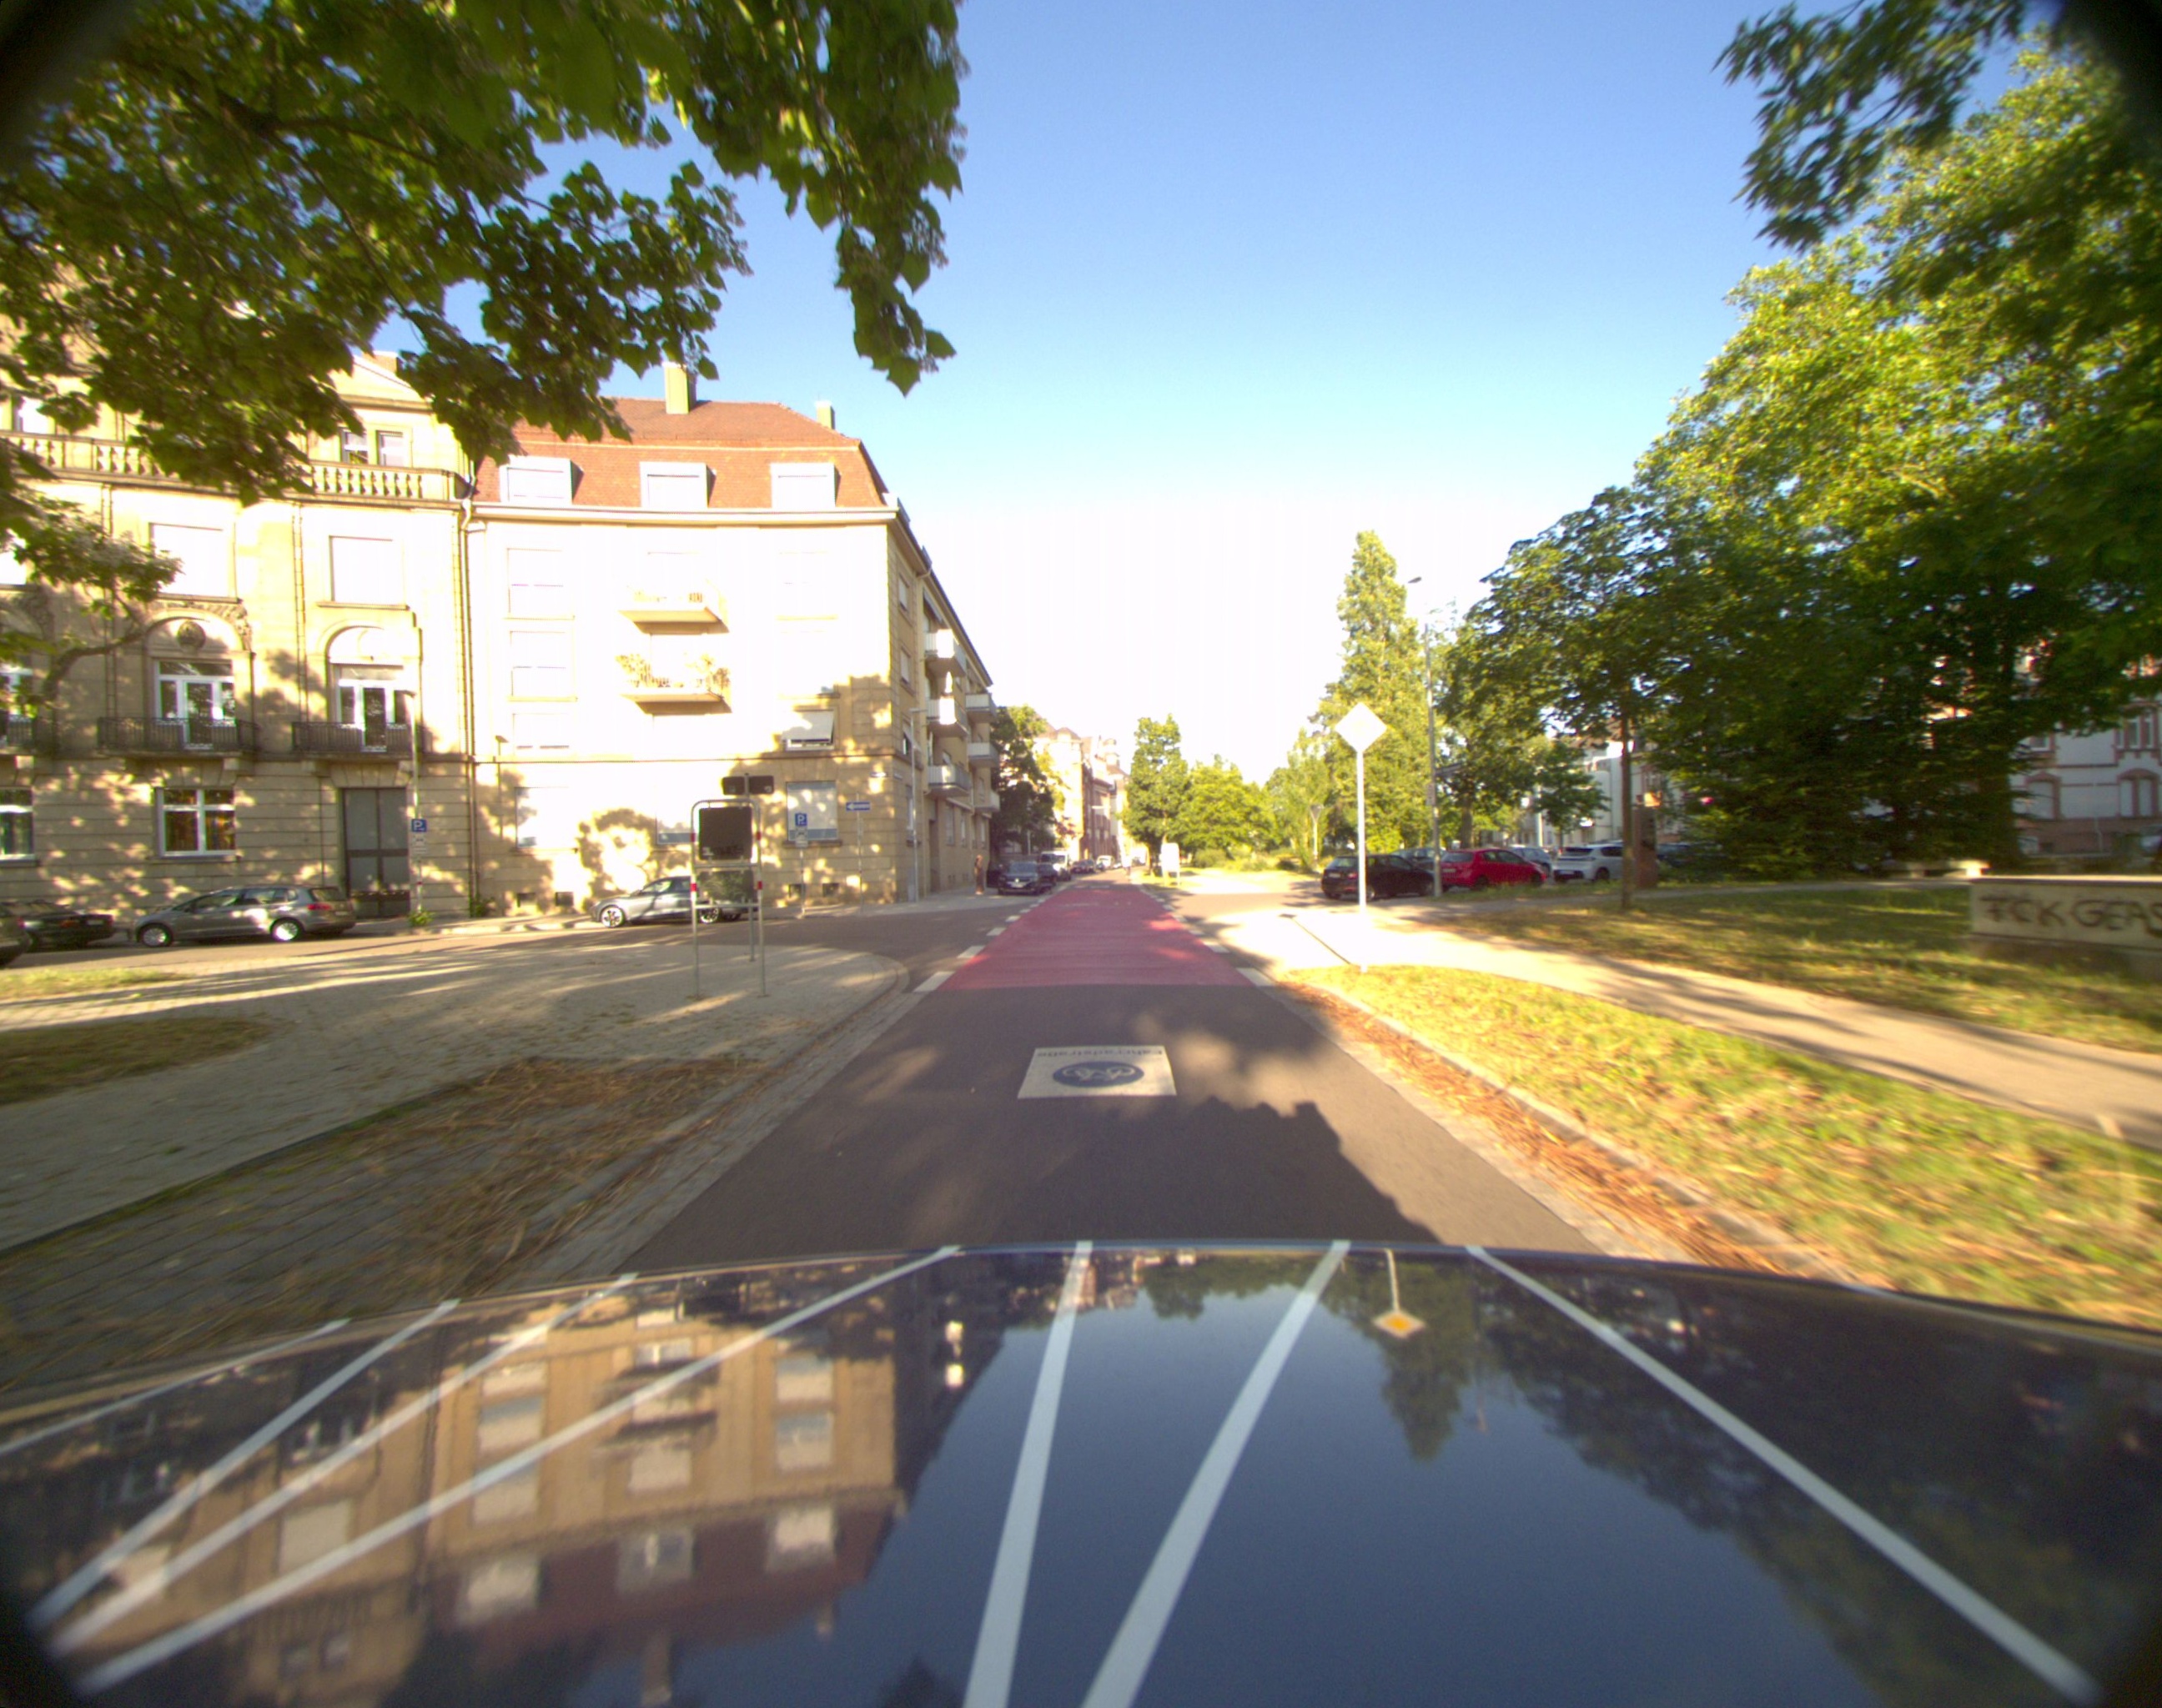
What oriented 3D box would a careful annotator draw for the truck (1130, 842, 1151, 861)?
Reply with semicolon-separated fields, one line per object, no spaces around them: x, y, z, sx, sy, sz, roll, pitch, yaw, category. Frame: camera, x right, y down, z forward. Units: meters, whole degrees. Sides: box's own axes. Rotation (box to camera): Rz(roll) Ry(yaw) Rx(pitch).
11.321;-0.464;144.184;3.018;3.423;7.629;-1;1;12;truck

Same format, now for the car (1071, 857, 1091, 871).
0.034;0.986;79.593;1.610;1.349;3.549;-1;1;7;car

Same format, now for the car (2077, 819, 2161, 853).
53.606;-0.937;38.410;3.997;1.565;1.890;-2;2;1;car

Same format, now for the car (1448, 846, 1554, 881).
18.751;0.408;33.921;4.281;1.392;1.836;-2;1;-21;car

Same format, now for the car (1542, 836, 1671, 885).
19.098;0.185;27.643;4.003;1.565;1.887;-2;2;-20;car

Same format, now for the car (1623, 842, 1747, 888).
23.267;0.372;29.280;4.003;1.565;1.887;-2;2;-19;car

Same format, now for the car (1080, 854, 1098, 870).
0.925;0.902;85.193;1.610;1.608;3.952;-1;1;7;car

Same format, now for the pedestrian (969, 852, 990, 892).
-4.683;0.830;35.083;0.733;1.819;0.555;-3;0;-35;pedestrian

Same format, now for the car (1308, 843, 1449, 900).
9.435;0.493;24.096;4.004;1.565;1.887;-2;2;-24;car

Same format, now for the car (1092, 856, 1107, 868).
2.370;0.973;95.482;1.509;1.437;3.731;-1;1;7;car

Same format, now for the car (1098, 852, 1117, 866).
3.800;0.694;107.898;2.118;1.942;4.763;-1;1;8;car

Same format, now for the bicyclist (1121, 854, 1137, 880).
3.277;0.883;51.877;0.939;1.693;0.906;-2;1;7;bicyclist

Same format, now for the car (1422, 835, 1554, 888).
13.770;0.204;25.722;4.004;1.565;1.887;-2;2;-24;car

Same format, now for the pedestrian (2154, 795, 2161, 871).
24.444;-0.484;16.775;0.664;1.686;0.671;-3;0;-18;pedestrian

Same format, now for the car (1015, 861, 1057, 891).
-2.274;1.093;39.378;1.707;1.412;4.349;1;1;3;car

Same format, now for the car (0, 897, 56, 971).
-23.463;1.665;14.468;4.370;1.409;1.842;-2;1;-19;car

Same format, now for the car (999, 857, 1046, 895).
-2.591;0.969;34.621;1.707;1.616;4.349;1;-1;1;car

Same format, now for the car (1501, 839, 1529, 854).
52.747;-0.943;92.459;1.887;1.565;4.603;-1;2;16;car

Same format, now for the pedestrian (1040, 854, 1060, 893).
-1.442;0.911;35.347;0.778;1.759;0.955;-3;0;2;pedestrian

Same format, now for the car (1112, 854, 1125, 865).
5.787;0.847;116.951;1.582;1.499;3.848;-1;1;7;car

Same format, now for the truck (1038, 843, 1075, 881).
-1.736;0.524;56.324;2.133;2.549;6.877;-1;1;3;truck

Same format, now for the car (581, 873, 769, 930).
-11.854;1.360;22.469;4.452;1.411;1.935;-1;1;-4;car

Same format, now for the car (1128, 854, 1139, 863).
9.364;0.759;134.677;1.582;1.499;3.849;-1;1;8;car

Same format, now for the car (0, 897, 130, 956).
-27.821;1.902;19.250;4.458;1.316;1.502;-2;1;-21;car

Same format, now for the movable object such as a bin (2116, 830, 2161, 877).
23.502;-0.019;16.438;1.334;0.984;0.948;-2;1;-18;movable object such as a bin

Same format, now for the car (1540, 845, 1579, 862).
49.306;-0.095;78.314;1.888;1.565;4.601;-1;2;12;car

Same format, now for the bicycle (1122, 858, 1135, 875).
3.267;0.832;51.860;0.739;1.129;2.105;-2;0;7;bicycle

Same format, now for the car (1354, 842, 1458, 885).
13.677;0.372;31.954;3.851;1.622;1.836;-2;1;-23;car

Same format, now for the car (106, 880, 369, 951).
-22.787;1.610;20.769;4.456;1.590;1.800;-2;1;-17;car
